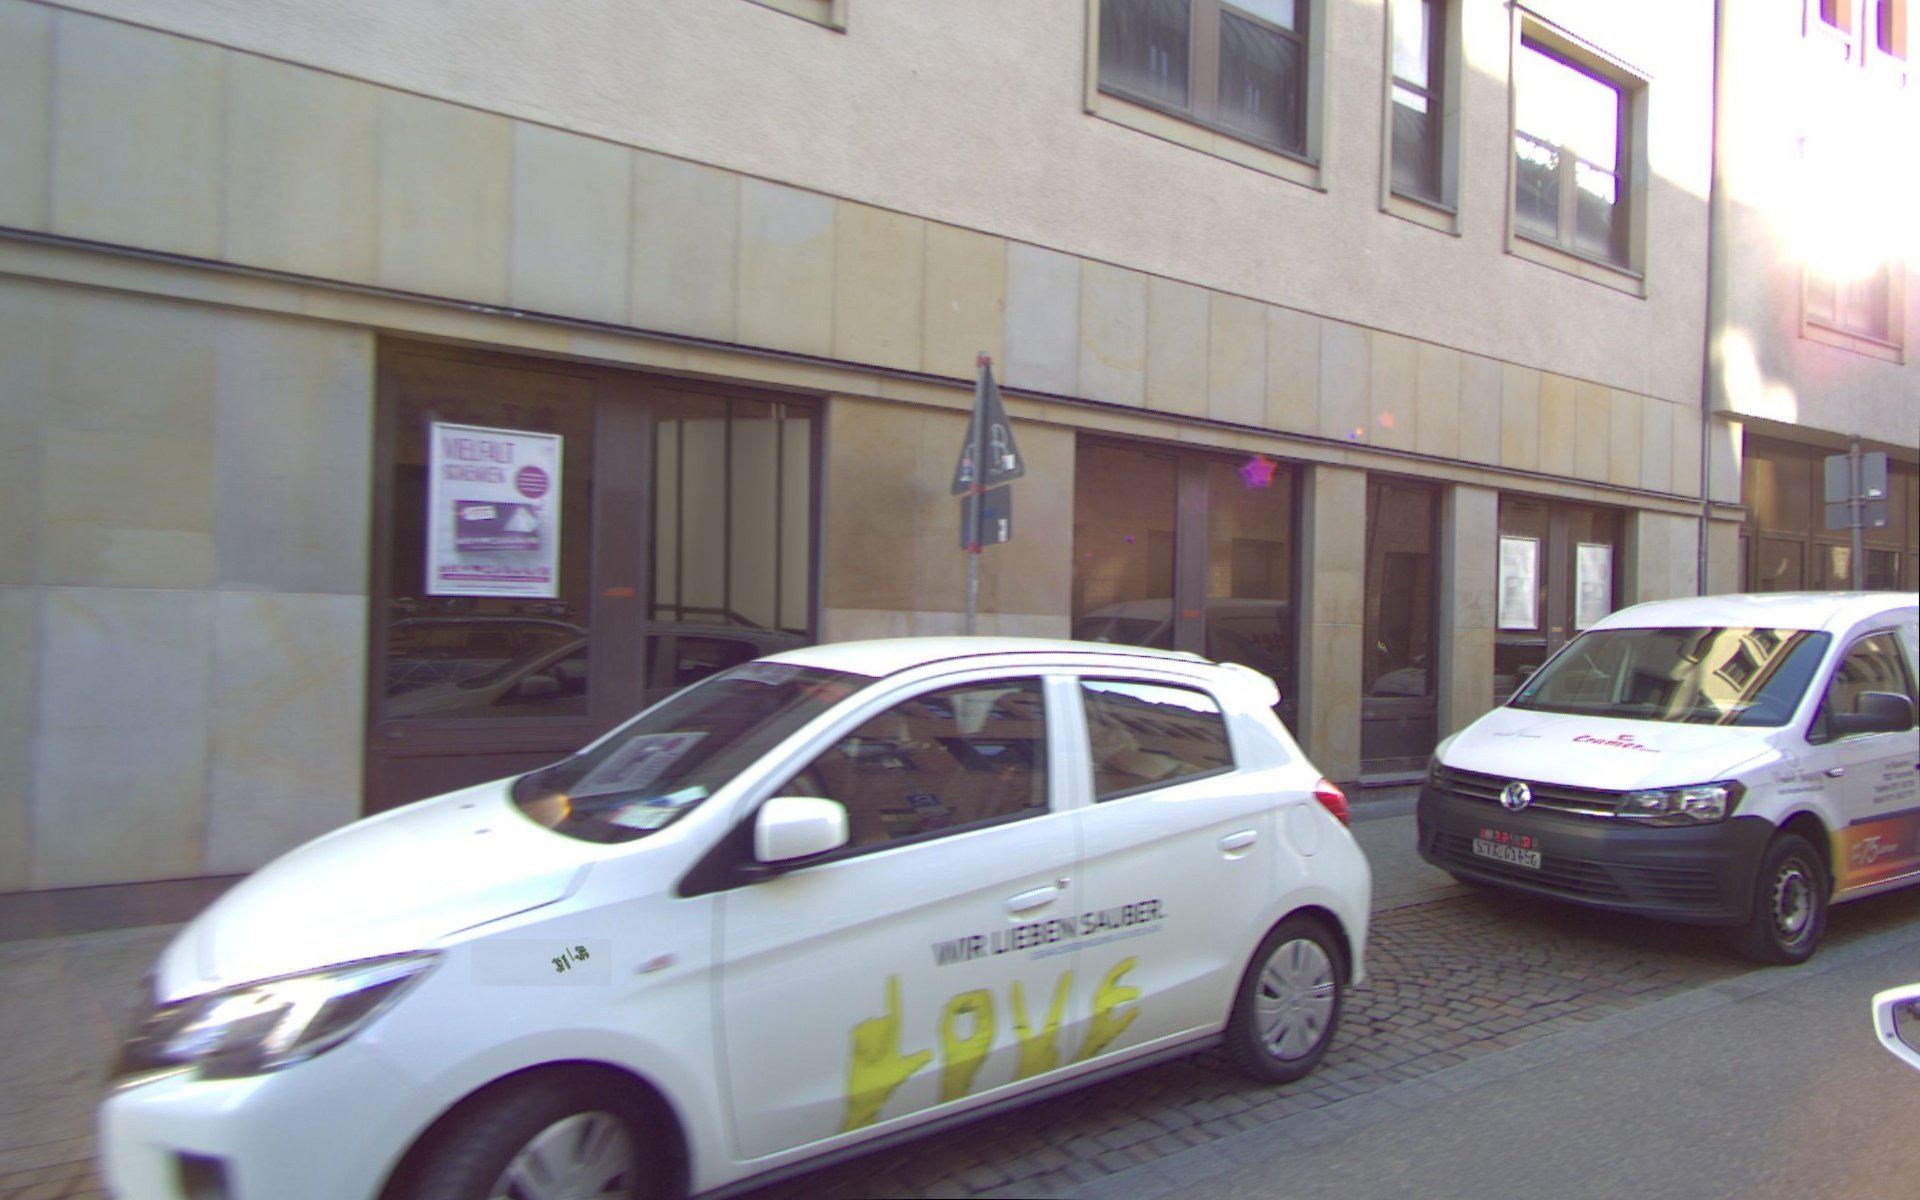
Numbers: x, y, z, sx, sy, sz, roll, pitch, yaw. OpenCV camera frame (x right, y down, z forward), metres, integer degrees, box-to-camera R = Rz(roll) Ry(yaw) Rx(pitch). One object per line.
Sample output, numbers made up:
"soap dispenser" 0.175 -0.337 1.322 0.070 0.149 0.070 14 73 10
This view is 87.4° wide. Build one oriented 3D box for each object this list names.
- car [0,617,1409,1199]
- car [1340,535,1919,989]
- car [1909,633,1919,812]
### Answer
"car" -0.427 0.857 3.334 3.758 1.512 1.727 2 -2 -32
"car" 4.722 0.755 6.109 4.674 1.882 1.892 2 -2 -28
"car" 10.312 1.099 8.903 3.728 1.542 1.663 2 -2 -28
